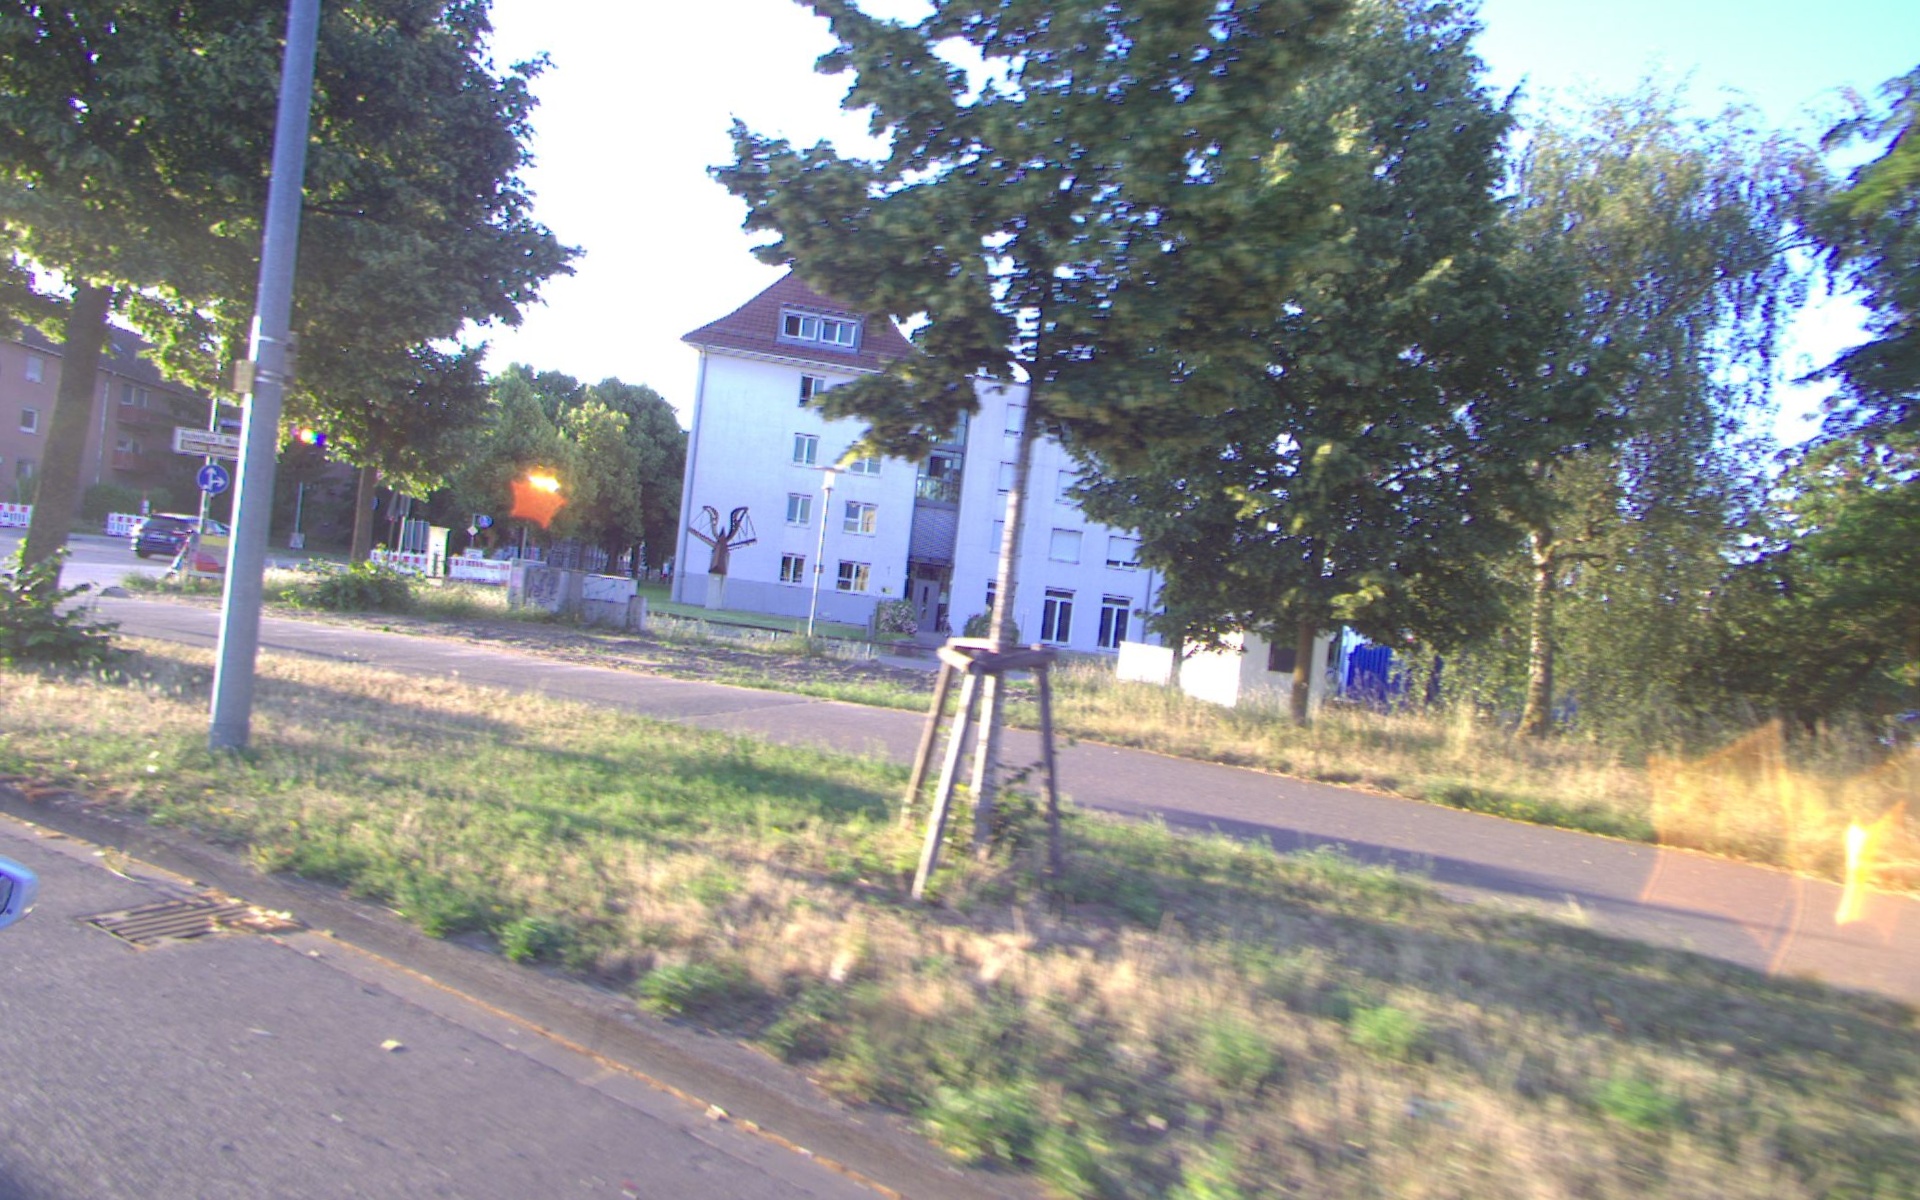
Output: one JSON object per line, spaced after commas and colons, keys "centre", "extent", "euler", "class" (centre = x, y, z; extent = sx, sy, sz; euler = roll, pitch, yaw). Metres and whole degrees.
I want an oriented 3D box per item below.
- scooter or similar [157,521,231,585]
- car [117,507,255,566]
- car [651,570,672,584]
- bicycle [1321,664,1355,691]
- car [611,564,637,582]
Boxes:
{"centre": [-16.766, -1.012, 22.041], "extent": [0.435, 1.253, 1.122], "euler": [7, 0, 31], "class": "scooter or similar"}
{"centre": [-27.022, -2.154, 35.313], "extent": [1.924, 1.622, 4.071], "euler": [8, 0, -8], "class": "car"}
{"centre": [-40.248, -3.092, 135.816], "extent": [1.924, 1.621, 4.073], "euler": [8, -1, -7], "class": "car"}
{"centre": [15.892, 3.265, 42.355], "extent": [0.398, 0.890, 1.844], "euler": [6, 2, -8], "class": "bicycle"}
{"centre": [-37.211, -2.986, 111.417], "extent": [1.925, 1.621, 4.071], "euler": [8, -1, -9], "class": "car"}
